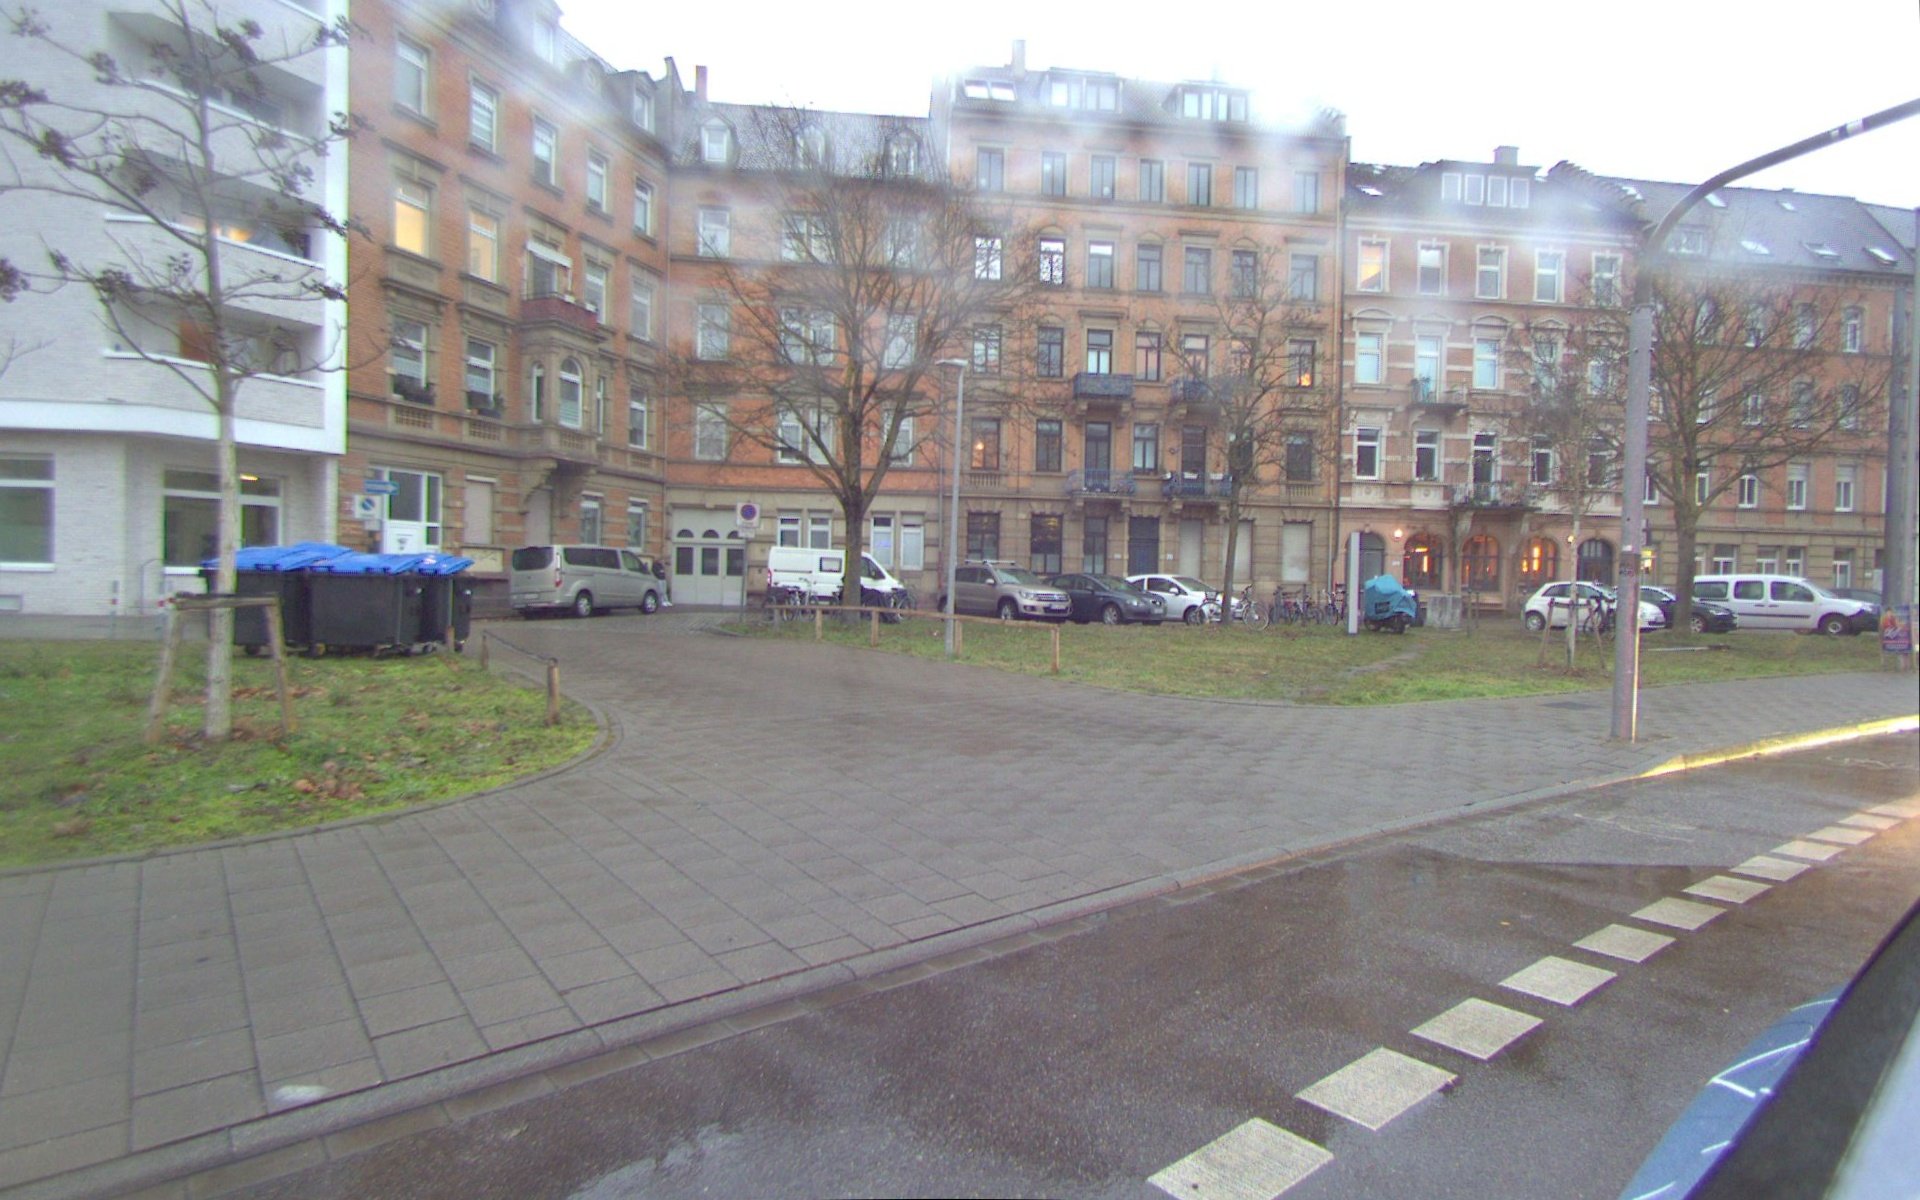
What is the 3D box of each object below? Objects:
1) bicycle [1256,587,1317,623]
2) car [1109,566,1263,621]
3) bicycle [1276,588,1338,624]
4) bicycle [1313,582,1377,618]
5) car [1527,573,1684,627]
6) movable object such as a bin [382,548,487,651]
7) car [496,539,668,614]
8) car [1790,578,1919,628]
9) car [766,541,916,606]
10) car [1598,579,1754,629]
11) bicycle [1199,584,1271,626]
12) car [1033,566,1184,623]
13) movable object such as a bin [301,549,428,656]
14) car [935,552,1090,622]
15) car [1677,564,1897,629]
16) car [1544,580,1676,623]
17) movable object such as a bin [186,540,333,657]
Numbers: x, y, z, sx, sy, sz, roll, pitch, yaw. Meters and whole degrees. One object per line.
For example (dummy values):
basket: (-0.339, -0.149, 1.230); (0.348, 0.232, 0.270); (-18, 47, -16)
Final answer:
bicycle: (9.405, 0.141, 29.272); (0.613, 0.978, 2.175); (3, -1, -13)
car: (6.078, -0.213, 27.562); (1.669, 1.353, 3.852); (0, 1, -42)
bicycle: (10.034, 0.162, 29.357); (0.613, 0.978, 2.175); (3, -1, -13)
bicycle: (11.129, -0.020, 29.337); (0.613, 0.978, 2.176); (1, 2, -13)
car: (18.413, 0.009, 28.984); (1.583, 1.461, 3.467); (1, 0, -34)
movable object such as a bin: (-7.959, 0.006, 15.379); (1.022, 1.509, 1.035); (0, -1, 6)
car: (-10.534, -0.571, 28.644); (1.976, 1.943, 4.715); (-1, -1, 21)
car: (27.039, 0.109, 29.479); (1.737, 1.250, 4.066); (2, 3, -35)
car: (-4.051, -0.912, 34.477); (4.885, 2.038, 2.003); (1, 2, -7)
car: (20.954, 0.081, 29.688); (1.634, 1.368, 3.430); (1, 0, -39)
bicycle: (6.631, 0.106, 24.421); (1.628, 0.948, 0.512); (2, 1, 15)
car: (3.858, -0.143, 26.677); (1.649, 1.372, 3.737); (2, 0, -42)
movable object such as a bin: (-8.333, 0.016, 14.218); (1.200, 1.433, 1.018); (1, 2, -3)
car: (1.291, -0.407, 26.484); (1.908, 1.656, 3.999); (-1, 3, -37)
car: (24.100, -0.155, 29.661); (1.745, 1.611, 4.663); (0, 3, -37)
car: (24.213, 0.073, 37.747); (3.967, 1.520, 1.740); (1, -1, -9)
movable object such as a bin: (-9.663, -0.031, 14.011); (1.303, 1.514, 1.032); (2, 1, -4)
